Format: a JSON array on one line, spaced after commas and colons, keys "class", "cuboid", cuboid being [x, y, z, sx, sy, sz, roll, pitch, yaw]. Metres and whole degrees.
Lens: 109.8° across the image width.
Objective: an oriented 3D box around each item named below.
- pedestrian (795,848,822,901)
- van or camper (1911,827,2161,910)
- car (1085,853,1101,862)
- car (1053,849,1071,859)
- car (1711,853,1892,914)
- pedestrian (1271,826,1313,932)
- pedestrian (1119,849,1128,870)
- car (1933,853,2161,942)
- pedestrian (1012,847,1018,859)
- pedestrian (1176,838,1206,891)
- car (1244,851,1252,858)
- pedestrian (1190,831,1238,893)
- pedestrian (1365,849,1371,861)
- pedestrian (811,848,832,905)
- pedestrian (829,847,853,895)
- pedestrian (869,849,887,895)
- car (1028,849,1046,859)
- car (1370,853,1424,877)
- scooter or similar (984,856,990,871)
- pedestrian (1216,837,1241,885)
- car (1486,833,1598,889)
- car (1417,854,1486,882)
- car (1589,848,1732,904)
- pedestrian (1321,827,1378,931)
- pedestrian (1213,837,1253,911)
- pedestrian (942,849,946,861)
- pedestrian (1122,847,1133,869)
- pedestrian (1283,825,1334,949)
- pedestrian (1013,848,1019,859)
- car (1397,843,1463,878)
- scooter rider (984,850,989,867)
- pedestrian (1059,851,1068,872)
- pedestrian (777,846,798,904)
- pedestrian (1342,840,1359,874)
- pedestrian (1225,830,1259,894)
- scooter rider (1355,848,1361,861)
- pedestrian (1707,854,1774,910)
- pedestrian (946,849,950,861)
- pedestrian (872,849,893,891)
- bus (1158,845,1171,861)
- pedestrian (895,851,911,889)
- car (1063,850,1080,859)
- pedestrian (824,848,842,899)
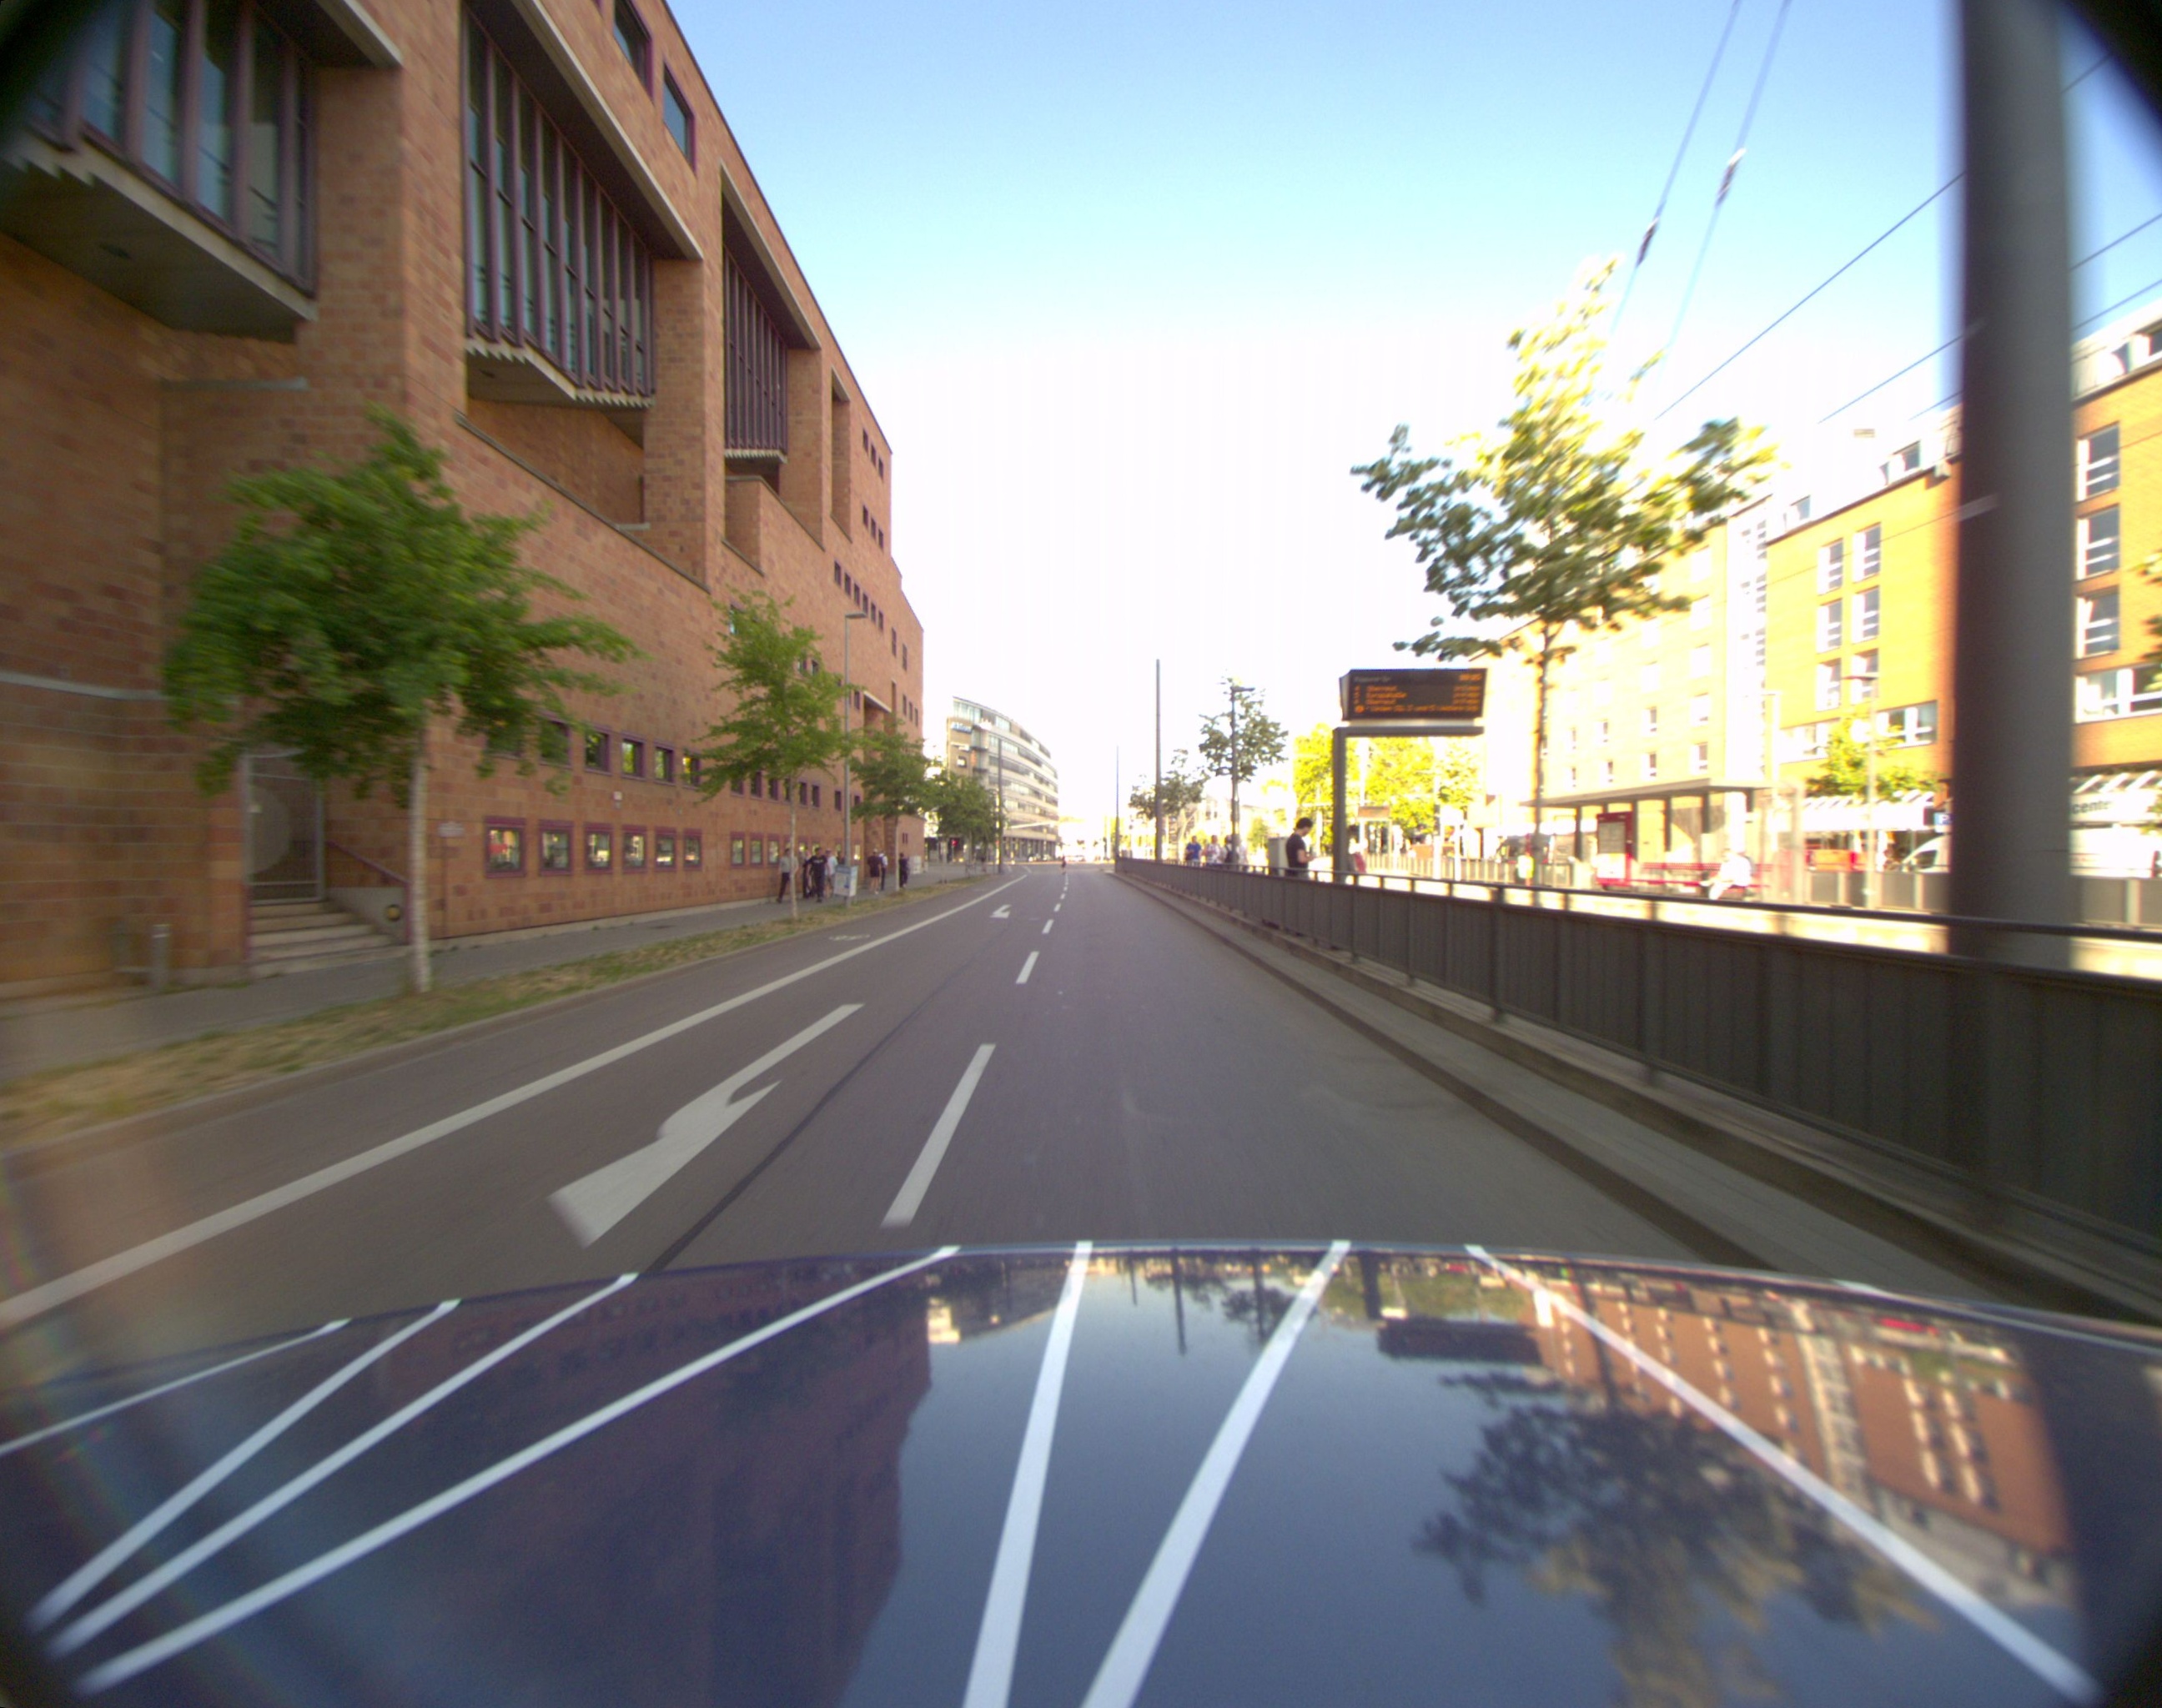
[{"class": "pedestrian", "cuboid": [-9.028, 0.660, 25.175, 0.537, 1.746, 0.696, 0, 1, 11]}, {"class": "van or camper", "cuboid": [28.738, 0.455, 22.626, 1.998, 2.156, 5.618, 0, -1, 2]}, {"class": "car", "cuboid": [2.230, 0.607, 136.247, 1.901, 1.611, 4.177, 0, 0, 15]}, {"class": "car", "cuboid": [-3.174, 0.033, 127.917, 1.901, 1.611, 3.871, 0, 0, 15]}, {"class": "car", "cuboid": [23.507, 0.909, 25.059, 1.891, 1.855, 4.316, 0, 0, 0]}, {"class": "pedestrian", "cuboid": [3.500, 0.403, 12.652, 0.506, 1.722, 0.651, 0, 1, 0]}, {"class": "pedestrian", "cuboid": [3.083, 0.376, 55.211, 0.490, 1.530, 0.552, 0, 1, 15]}, {"class": "car", "cuboid": [23.331, 0.927, 17.854, 1.890, 1.855, 4.317, 0, 0, 3]}, {"class": "pedestrian", "cuboid": [-10.157, -0.151, 117.039, 0.966, 1.832, 0.699, 0, 1, 0]}, {"class": "pedestrian", "cuboid": [3.536, 0.326, 24.368, 0.889, 1.662, 0.672, 0, 1, 12]}, {"class": "car", "cuboid": [44.258, 0.082, 201.434, 1.608, 2.002, 3.892, 0, 1, 19]}, {"class": "pedestrian", "cuboid": [3.664, 0.208, 20.917, 0.888, 1.662, 1.098, 1, 1, 38]}, {"class": "pedestrian", "cuboid": [40.869, 0.150, 108.275, 0.671, 1.786, 0.571, 1, 1, 31]}, {"class": "pedestrian", "cuboid": [-8.133, 0.694, 23.829, 0.539, 1.746, 0.463, 0, 1, -31]}, {"class": "pedestrian", "cuboid": [-8.723, 0.609, 27.596, 0.735, 1.746, 0.695, 0, 1, -11]}, {"class": "pedestrian", "cuboid": [-7.808, 0.689, 29.185, 0.537, 1.746, 0.422, 0, 1, 5]}, {"class": "car", "cuboid": [-7.546, 0.057, 129.976, 1.901, 1.611, 4.177, 0, 0, 15]}, {"class": "car", "cuboid": [20.964, 0.728, 50.566, 1.891, 1.523, 4.000, 0, 0, -1]}, {"class": "scooter or similar", "cuboid": [-8.491, 0.877, 68.312, 0.529, 1.310, 1.131, 0, 1, -8]}, {"class": "pedestrian", "cuboid": [4.587, 0.214, 23.549, 0.683, 1.475, 0.830, 0, 1, 16]}, {"class": "car", "cuboid": [20.761, 0.273, 34.490, 2.051, 2.344, 4.919, 0, 0, 0]}, {"class": "car", "cuboid": [20.831, 0.783, 42.893, 1.891, 1.523, 4.000, 0, 0, -1]}, {"class": "car", "cuboid": [20.728, 0.764, 27.433, 1.891, 1.855, 4.316, 0, 0, 1]}, {"class": "pedestrian", "cuboid": [4.511, 0.409, 12.812, 0.721, 1.722, 0.651, 0, 1, 0]}, {"class": "pedestrian", "cuboid": [3.273, 0.428, 16.405, 0.674, 1.553, 0.906, 0, 1, 0]}, {"class": "pedestrian", "cuboid": [-19.784, 0.150, 109.952, 0.589, 1.813, 0.543, 0, 1, -13]}, {"class": "pedestrian", "cuboid": [3.311, 0.270, 54.309, 0.714, 1.530, 0.852, 0, 1, 9]}, {"class": "pedestrian", "cuboid": [3.154, 0.448, 10.589, 0.506, 1.669, 0.651, 0, 1, 0]}, {"class": "pedestrian", "cuboid": [-10.118, -0.035, 117.799, 0.845, 1.678, 0.648, 0, 1, 4]}, {"class": "car", "cuboid": [24.221, 0.419, 53.033, 2.084, 2.276, 5.263, 0, 1, -1]}, {"class": "scooter rider", "cuboid": [-8.497, 0.403, 68.402, 0.507, 1.452, 0.721, 0, 1, -6]}, {"class": "pedestrian", "cuboid": [-1.359, 0.577, 59.016, 0.624, 1.692, 0.749, 0, 1, -13]}, {"class": "pedestrian", "cuboid": [-9.023, 0.628, 23.347, 0.539, 1.746, 0.421, -1, 1, -33]}, {"class": "pedestrian", "cuboid": [13.531, 0.151, 38.113, 0.677, 1.674, 0.577, 1, 1, 34]}, {"class": "pedestrian", "cuboid": [4.323, 0.209, 20.365, 0.657, 1.662, 0.673, 1, 1, 37]}, {"class": "scooter rider", "cuboid": [39.375, 0.110, 107.972, 0.587, 1.822, 0.765, 1, 1, 34]}, {"class": "pedestrian", "cuboid": [14.451, 0.603, 16.669, 0.674, 1.183, 0.906, 0, 1, 0]}, {"class": "pedestrian", "cuboid": [-19.246, 0.153, 110.128, 0.547, 1.813, 0.374, 0, 1, -13]}, {"class": "pedestrian", "cuboid": [-8.235, 0.649, 31.530, 0.574, 1.703, 0.639, -1, 1, -43]}, {"class": "bus", "cuboid": [18.087, -0.139, 164.521, 2.723, 3.388, 9.674, 0, -1, 7]}, {"class": "pedestrian", "cuboid": [-7.511, 0.673, 32.098, 0.518, 1.596, 0.703, 0, 1, -25]}, {"class": "car", "cuboid": [-1.687, 0.107, 132.053, 1.901, 1.611, 4.177, 0, 0, 15]}, {"class": "pedestrian", "cuboid": [-8.532, 0.665, 26.143, 0.538, 1.746, 0.694, 0, 1, -16]}]
